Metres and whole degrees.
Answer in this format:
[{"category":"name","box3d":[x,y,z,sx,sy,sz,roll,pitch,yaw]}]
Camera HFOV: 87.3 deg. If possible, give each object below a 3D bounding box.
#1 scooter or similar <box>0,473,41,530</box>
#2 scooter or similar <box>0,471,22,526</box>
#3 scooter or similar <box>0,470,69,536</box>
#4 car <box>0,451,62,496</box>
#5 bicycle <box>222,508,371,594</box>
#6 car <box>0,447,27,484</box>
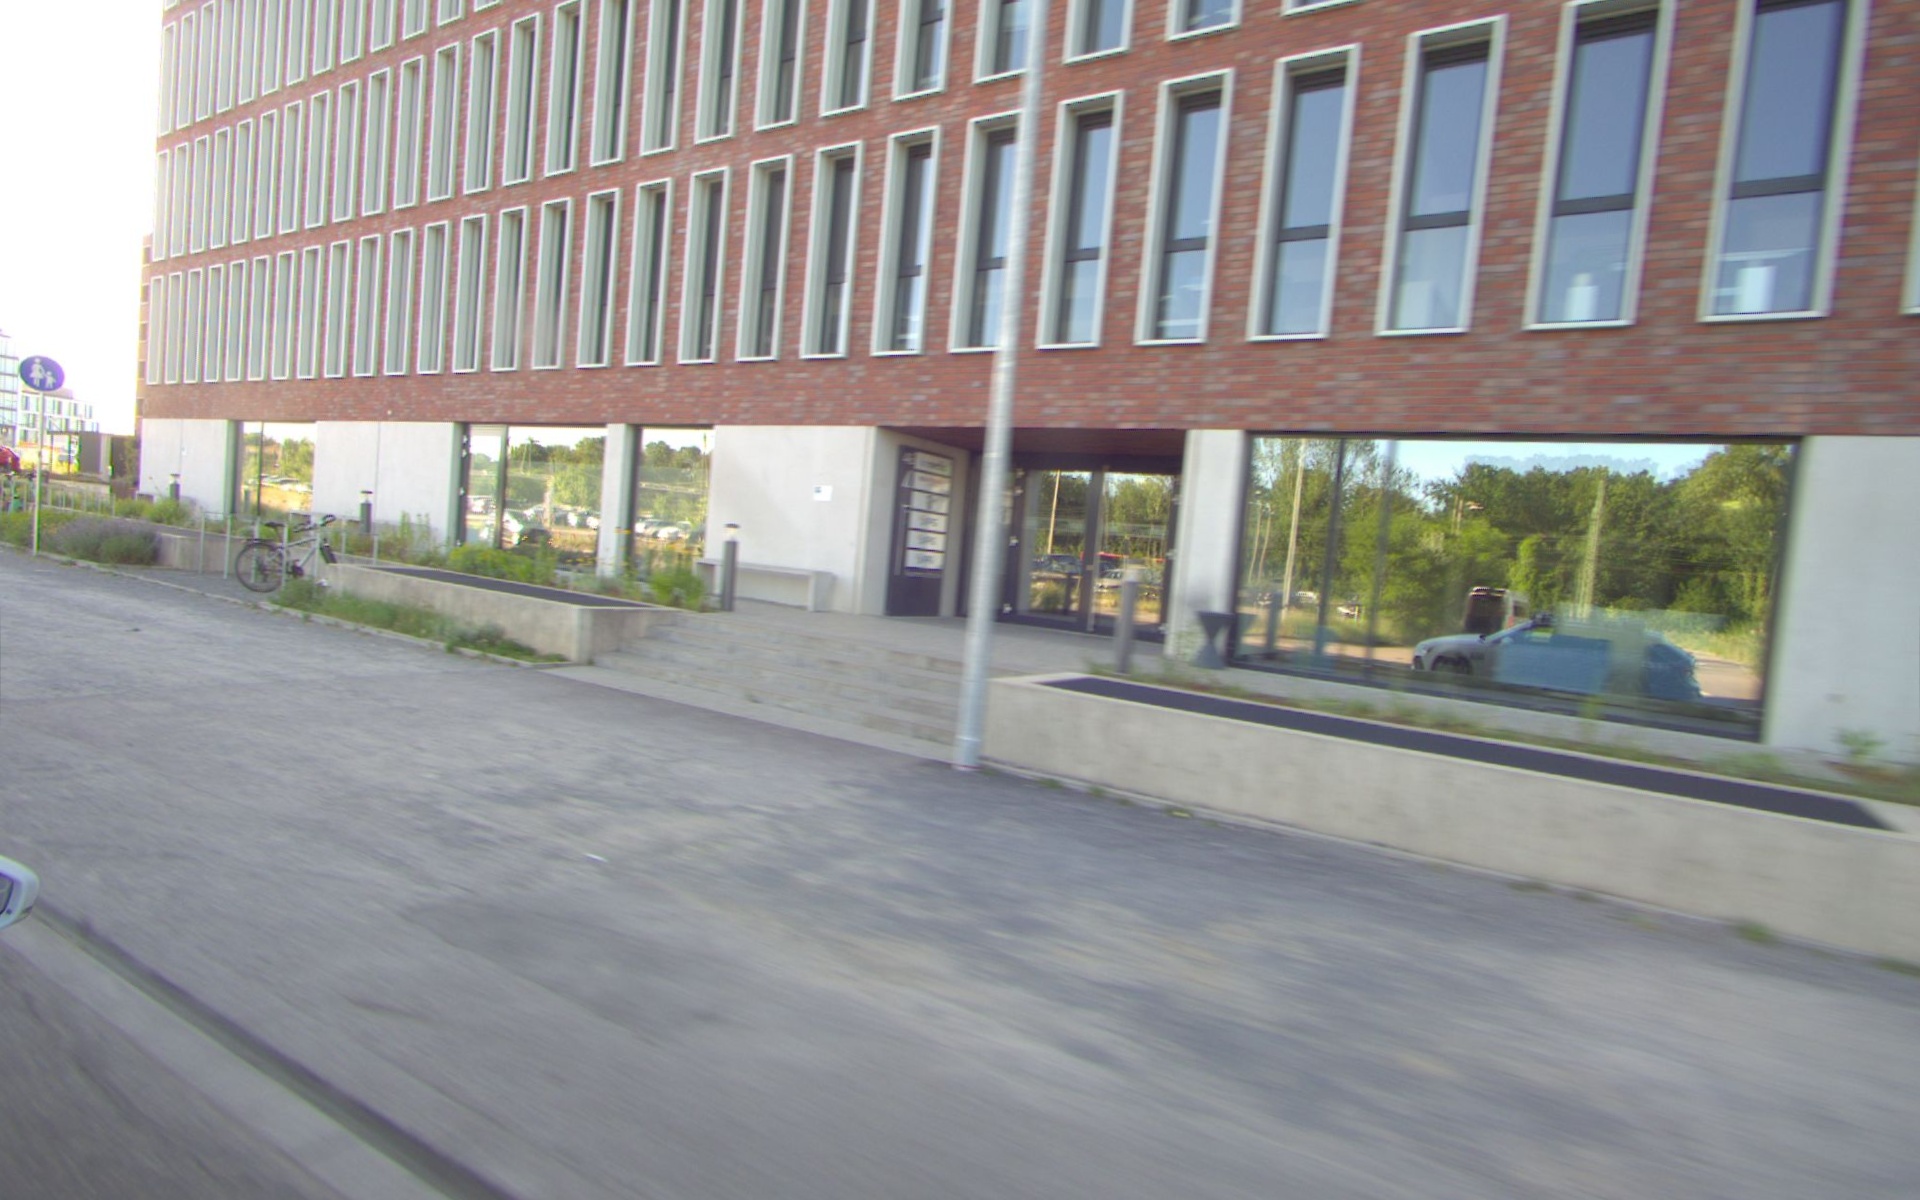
[{"category":"scooter or similar","box3d":[-20.865,-2.177,21.864,0.360,1.171,1.242,8,4,35]},{"category":"scooter or similar","box3d":[-22.083,-2.334,22.718,0.335,1.211,1.242,8,4,35]},{"category":"scooter or similar","box3d":[-19.614,-2.041,21.064,0.417,1.262,1.339,8,4,35]},{"category":"car","box3d":[-40.332,-5.441,41.772,1.822,1.601,4.183,8,2,34]},{"category":"bicycle","box3d":[-9.888,-0.699,15.084,0.368,1.186,1.933,7,4,25]},{"category":"car","box3d":[-45.690,-6.358,45.967,1.822,1.601,4.182,5,1,34]}]
